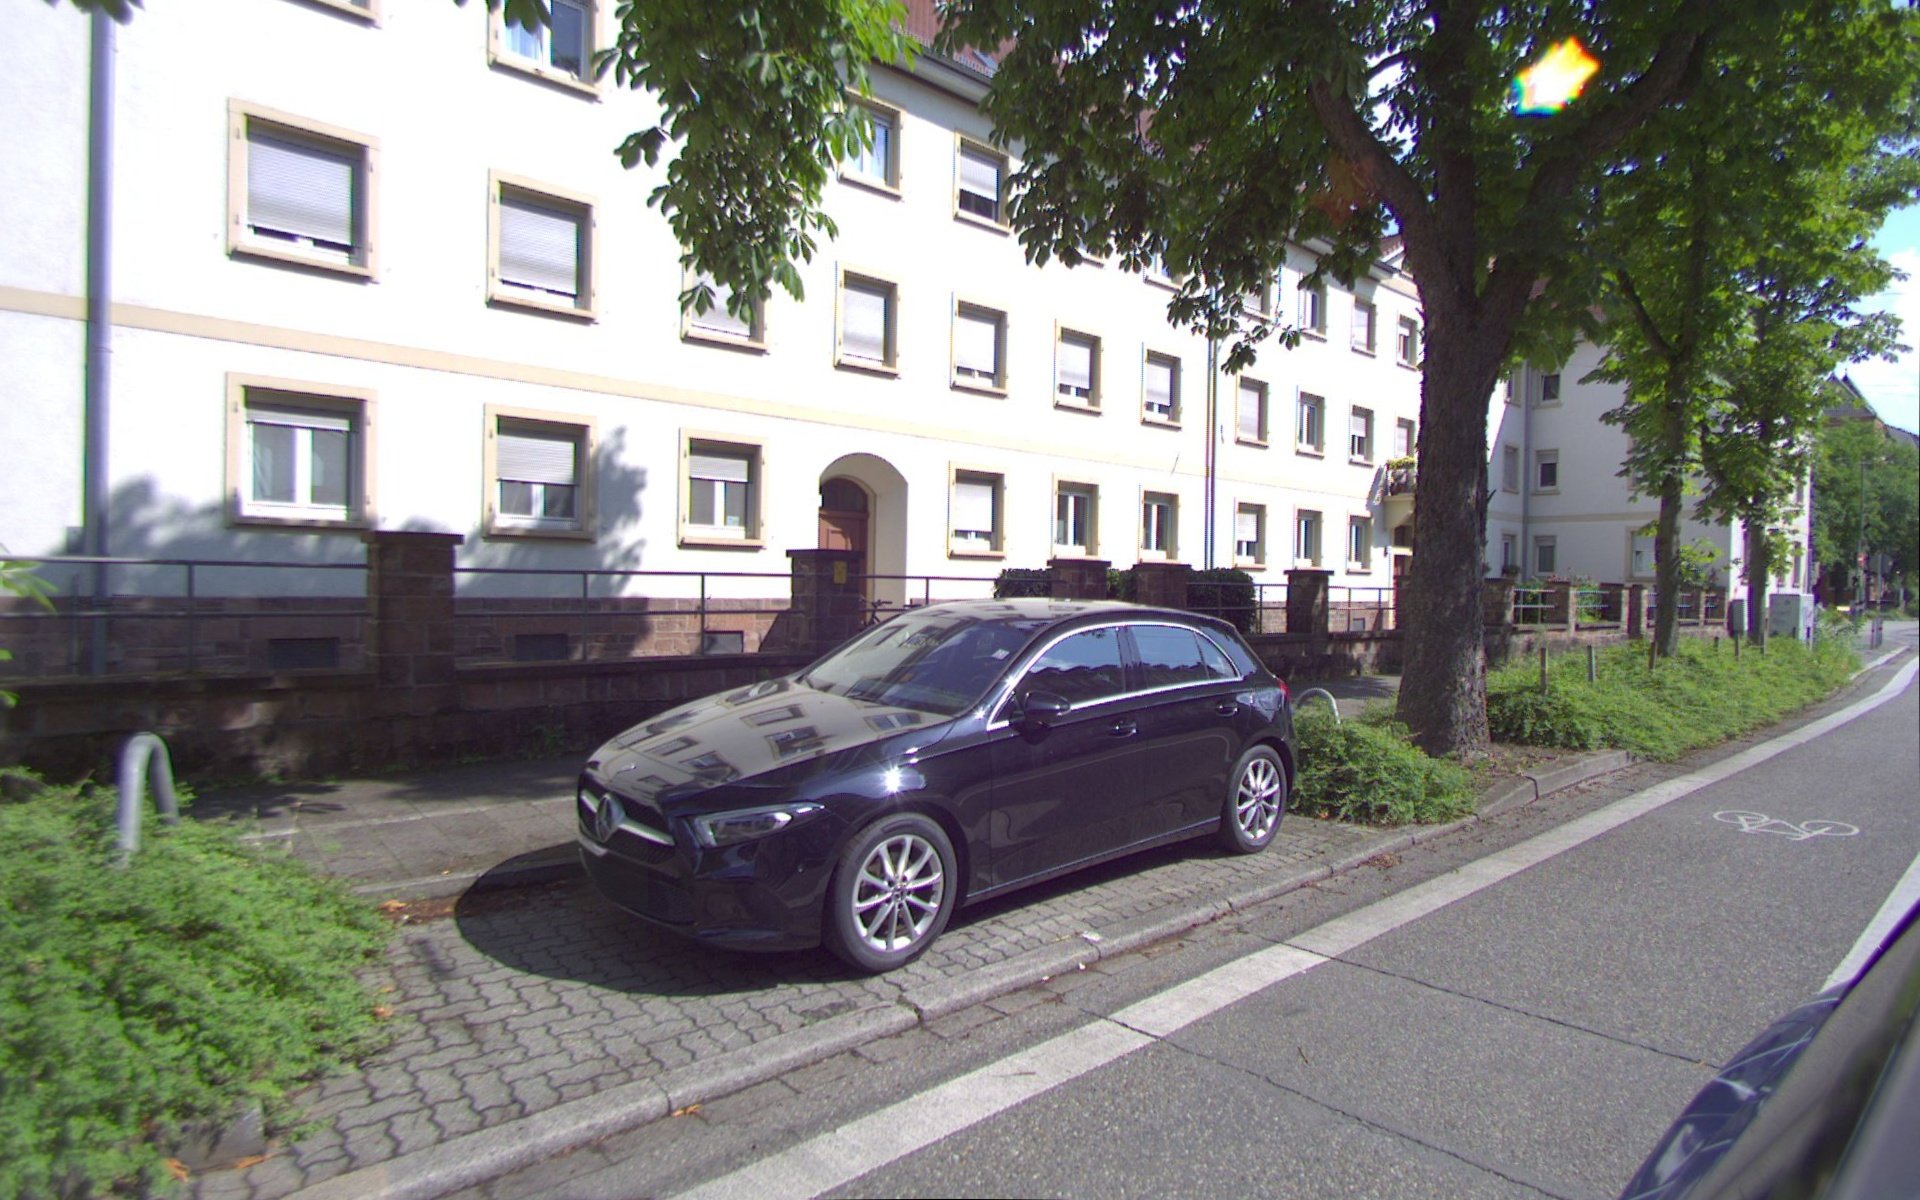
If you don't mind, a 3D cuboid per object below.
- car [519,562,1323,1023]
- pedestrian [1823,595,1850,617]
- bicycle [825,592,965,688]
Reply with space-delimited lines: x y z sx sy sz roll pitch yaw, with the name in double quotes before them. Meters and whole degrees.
"car" 0.096 0.625 5.413 4.213 1.540 1.663 0 1 -42
"pedestrian" 52.427 0.352 60.540 1.157 1.217 0.893 6 3 42
"bicycle" -0.813 0.480 12.998 1.769 1.149 0.626 0 1 -41
